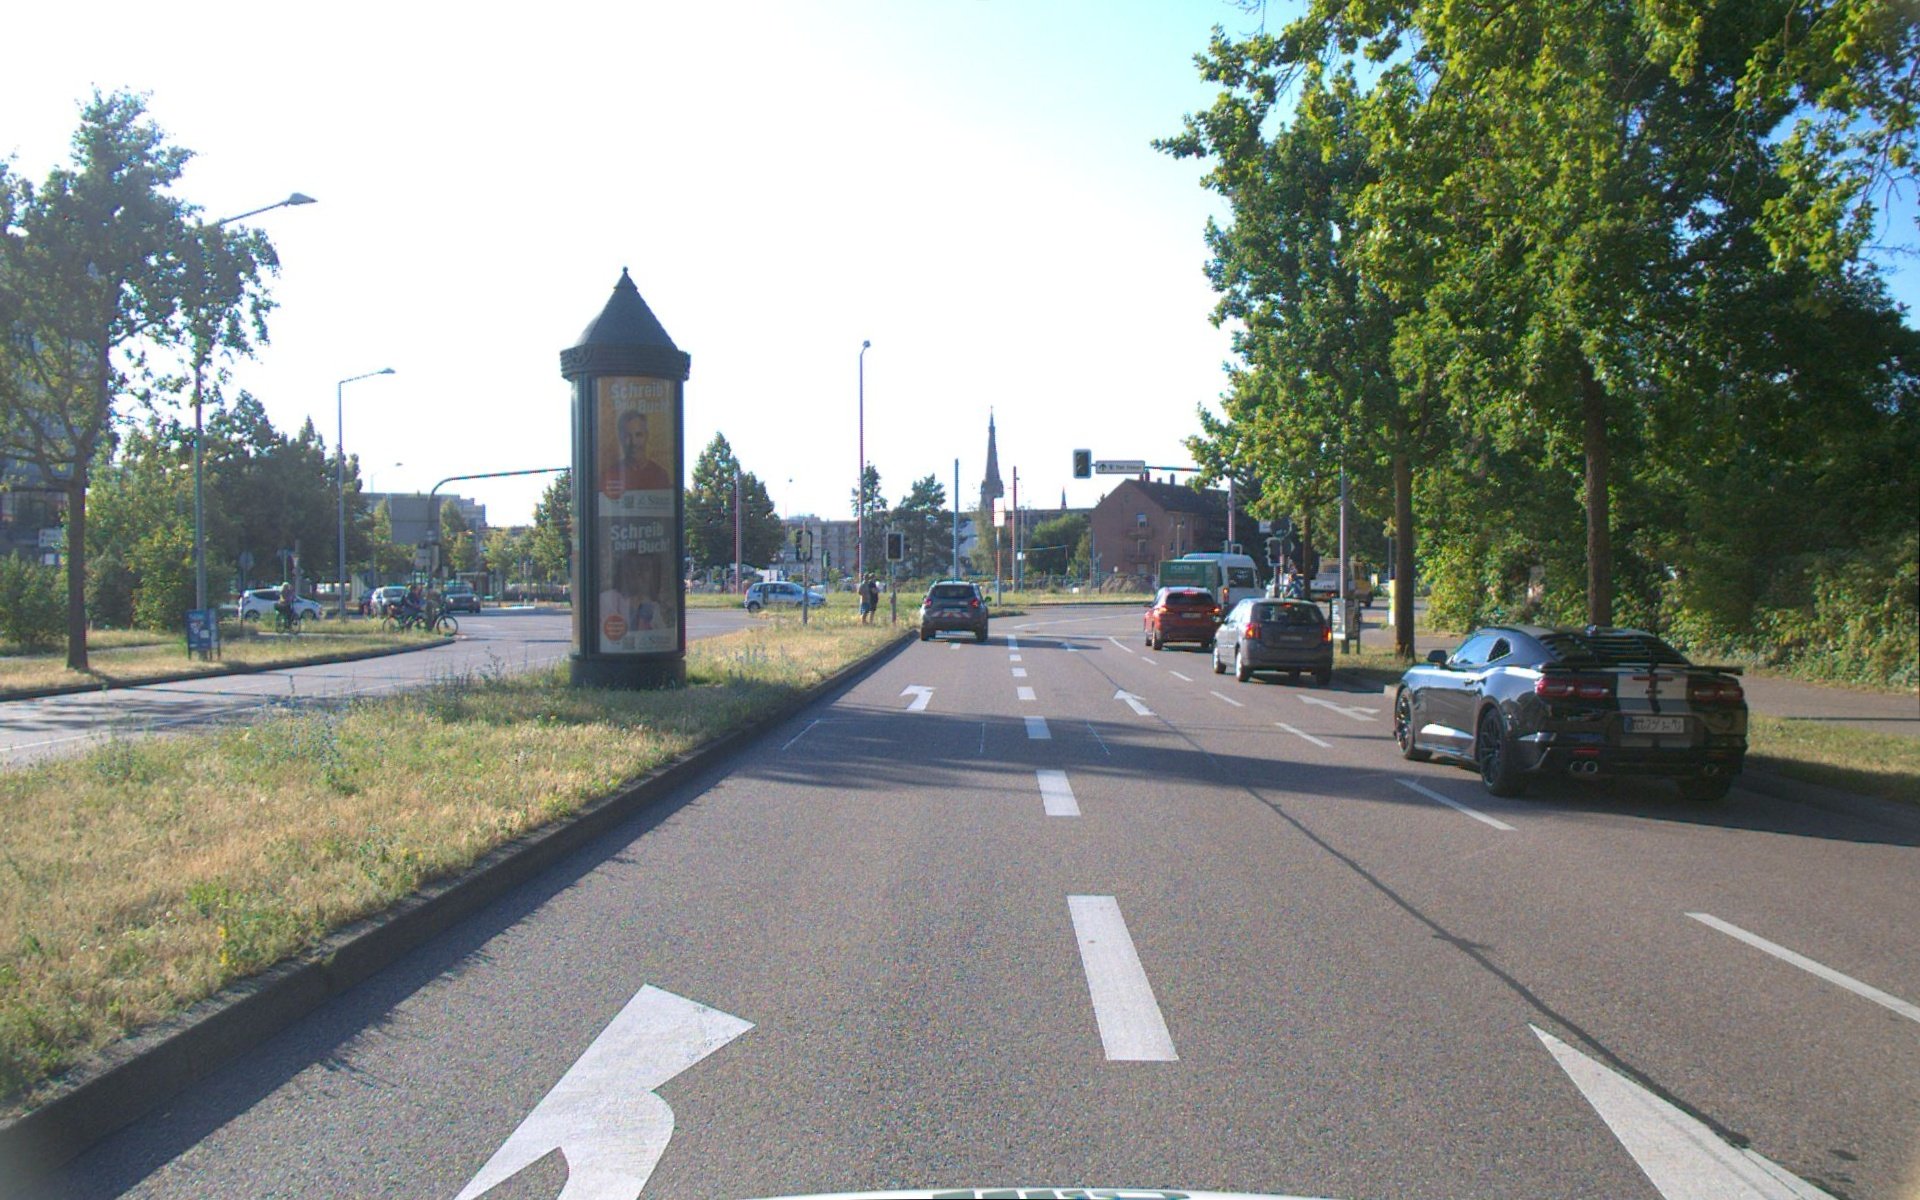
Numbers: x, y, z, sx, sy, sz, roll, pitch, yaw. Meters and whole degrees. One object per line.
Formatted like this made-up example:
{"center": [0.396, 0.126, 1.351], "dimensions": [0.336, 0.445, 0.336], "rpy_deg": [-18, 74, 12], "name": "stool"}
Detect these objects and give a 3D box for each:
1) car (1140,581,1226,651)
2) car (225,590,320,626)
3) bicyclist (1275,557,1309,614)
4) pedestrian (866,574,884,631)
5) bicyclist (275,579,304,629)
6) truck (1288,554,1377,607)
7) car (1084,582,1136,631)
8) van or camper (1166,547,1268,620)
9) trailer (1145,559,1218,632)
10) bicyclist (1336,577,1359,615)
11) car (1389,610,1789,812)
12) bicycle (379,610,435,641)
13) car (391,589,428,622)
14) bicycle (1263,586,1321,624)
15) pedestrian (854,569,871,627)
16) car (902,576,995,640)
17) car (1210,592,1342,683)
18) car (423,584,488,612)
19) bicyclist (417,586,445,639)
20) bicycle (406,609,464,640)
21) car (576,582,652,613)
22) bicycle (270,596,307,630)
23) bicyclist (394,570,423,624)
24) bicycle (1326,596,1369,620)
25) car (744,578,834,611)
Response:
{"center": [5.862, 0.394, 43.778], "dimensions": [1.711, 1.649, 3.820], "rpy_deg": [3, 1, 0], "name": "car"}
{"center": [-31.502, 0.348, 75.804], "dimensions": [3.915, 1.534, 1.833], "rpy_deg": [-1, 1, -27], "name": "car"}
{"center": [11.570, -0.508, 57.680], "dimensions": [0.921, 1.932, 0.599], "rpy_deg": [-2, 0, 38], "name": "bicyclist"}
{"center": [-2.823, 0.084, 54.798], "dimensions": [0.475, 1.876, 0.672], "rpy_deg": [-1, 0, 4], "name": "pedestrian"}
{"center": [-23.268, 0.132, 57.363], "dimensions": [0.703, 1.695, 0.819], "rpy_deg": [-1, 1, -39], "name": "bicyclist"}
{"center": [19.062, -1.039, 84.395], "dimensions": [2.533, 2.602, 6.237], "rpy_deg": [1, 2, 32], "name": "truck"}
{"center": [5.333, 0.208, 59.083], "dimensions": [1.568, 1.638, 4.001], "rpy_deg": [-1, 1, 2], "name": "car"}
{"center": [9.958, -0.658, 63.575], "dimensions": [2.239, 2.674, 6.580], "rpy_deg": [1, 1, 24], "name": "van or camper"}
{"center": [7.800, -0.184, 57.973], "dimensions": [2.046, 2.442, 3.503], "rpy_deg": [1, 1, 16], "name": "trailer"}
{"center": [13.794, -0.156, 58.818], "dimensions": [0.638, 1.317, 0.464], "rpy_deg": [-2, 1, -17], "name": "bicyclist"}
{"center": [5.185, 0.828, 14.378], "dimensions": [1.816, 1.361, 4.626], "rpy_deg": [0, 1, 1], "name": "car"}
{"center": [-18.864, 0.871, 56.394], "dimensions": [1.868, 1.037, 0.505], "rpy_deg": [1, 0, 17], "name": "bicycle"}
{"center": [-26.963, 0.249, 81.025], "dimensions": [1.642, 1.466, 3.597], "rpy_deg": [-2, 1, -18], "name": "car"}
{"center": [11.573, 0.178, 57.695], "dimensions": [1.873, 1.266, 0.606], "rpy_deg": [-2, 0, 38], "name": "bicycle"}
{"center": [-3.160, -0.074, 53.668], "dimensions": [0.476, 1.876, 0.719], "rpy_deg": [-1, 0, -1], "name": "pedestrian"}
{"center": [-0.373, 0.195, 46.595], "dimensions": [1.872, 1.689, 3.989], "rpy_deg": [-1, 0, -11], "name": "car"}
{"center": [5.756, 0.635, 30.521], "dimensions": [1.711, 1.499, 3.820], "rpy_deg": [-1, 1, 0], "name": "car"}
{"center": [-26.980, -0.107, 88.333], "dimensions": [1.660, 1.400, 4.082], "rpy_deg": [-3, 2, -43], "name": "car"}
{"center": [-18.451, 0.441, 57.697], "dimensions": [0.795, 1.820, 0.497], "rpy_deg": [1, 0, 9], "name": "bicyclist"}
{"center": [-18.300, 0.848, 57.672], "dimensions": [1.867, 1.037, 0.505], "rpy_deg": [1, 0, 8], "name": "bicycle"}
{"center": [-17.039, -0.122, 81.403], "dimensions": [1.893, 1.470, 4.075], "rpy_deg": [-2, 1, -42], "name": "car"}
{"center": [-23.339, 0.450, 57.474], "dimensions": [0.718, 1.138, 1.798], "rpy_deg": [-1, 0, -38], "name": "bicycle"}
{"center": [-18.804, -0.101, 56.376], "dimensions": [0.796, 1.801, 0.496], "rpy_deg": [1, 0, 16], "name": "bicyclist"}
{"center": [13.785, 0.271, 58.814], "dimensions": [1.436, 0.800, 0.438], "rpy_deg": [-2, 1, -17], "name": "bicycle"}
{"center": [-7.853, -0.253, 76.112], "dimensions": [3.667, 1.459, 1.837], "rpy_deg": [-1, 1, 15], "name": "car"}
